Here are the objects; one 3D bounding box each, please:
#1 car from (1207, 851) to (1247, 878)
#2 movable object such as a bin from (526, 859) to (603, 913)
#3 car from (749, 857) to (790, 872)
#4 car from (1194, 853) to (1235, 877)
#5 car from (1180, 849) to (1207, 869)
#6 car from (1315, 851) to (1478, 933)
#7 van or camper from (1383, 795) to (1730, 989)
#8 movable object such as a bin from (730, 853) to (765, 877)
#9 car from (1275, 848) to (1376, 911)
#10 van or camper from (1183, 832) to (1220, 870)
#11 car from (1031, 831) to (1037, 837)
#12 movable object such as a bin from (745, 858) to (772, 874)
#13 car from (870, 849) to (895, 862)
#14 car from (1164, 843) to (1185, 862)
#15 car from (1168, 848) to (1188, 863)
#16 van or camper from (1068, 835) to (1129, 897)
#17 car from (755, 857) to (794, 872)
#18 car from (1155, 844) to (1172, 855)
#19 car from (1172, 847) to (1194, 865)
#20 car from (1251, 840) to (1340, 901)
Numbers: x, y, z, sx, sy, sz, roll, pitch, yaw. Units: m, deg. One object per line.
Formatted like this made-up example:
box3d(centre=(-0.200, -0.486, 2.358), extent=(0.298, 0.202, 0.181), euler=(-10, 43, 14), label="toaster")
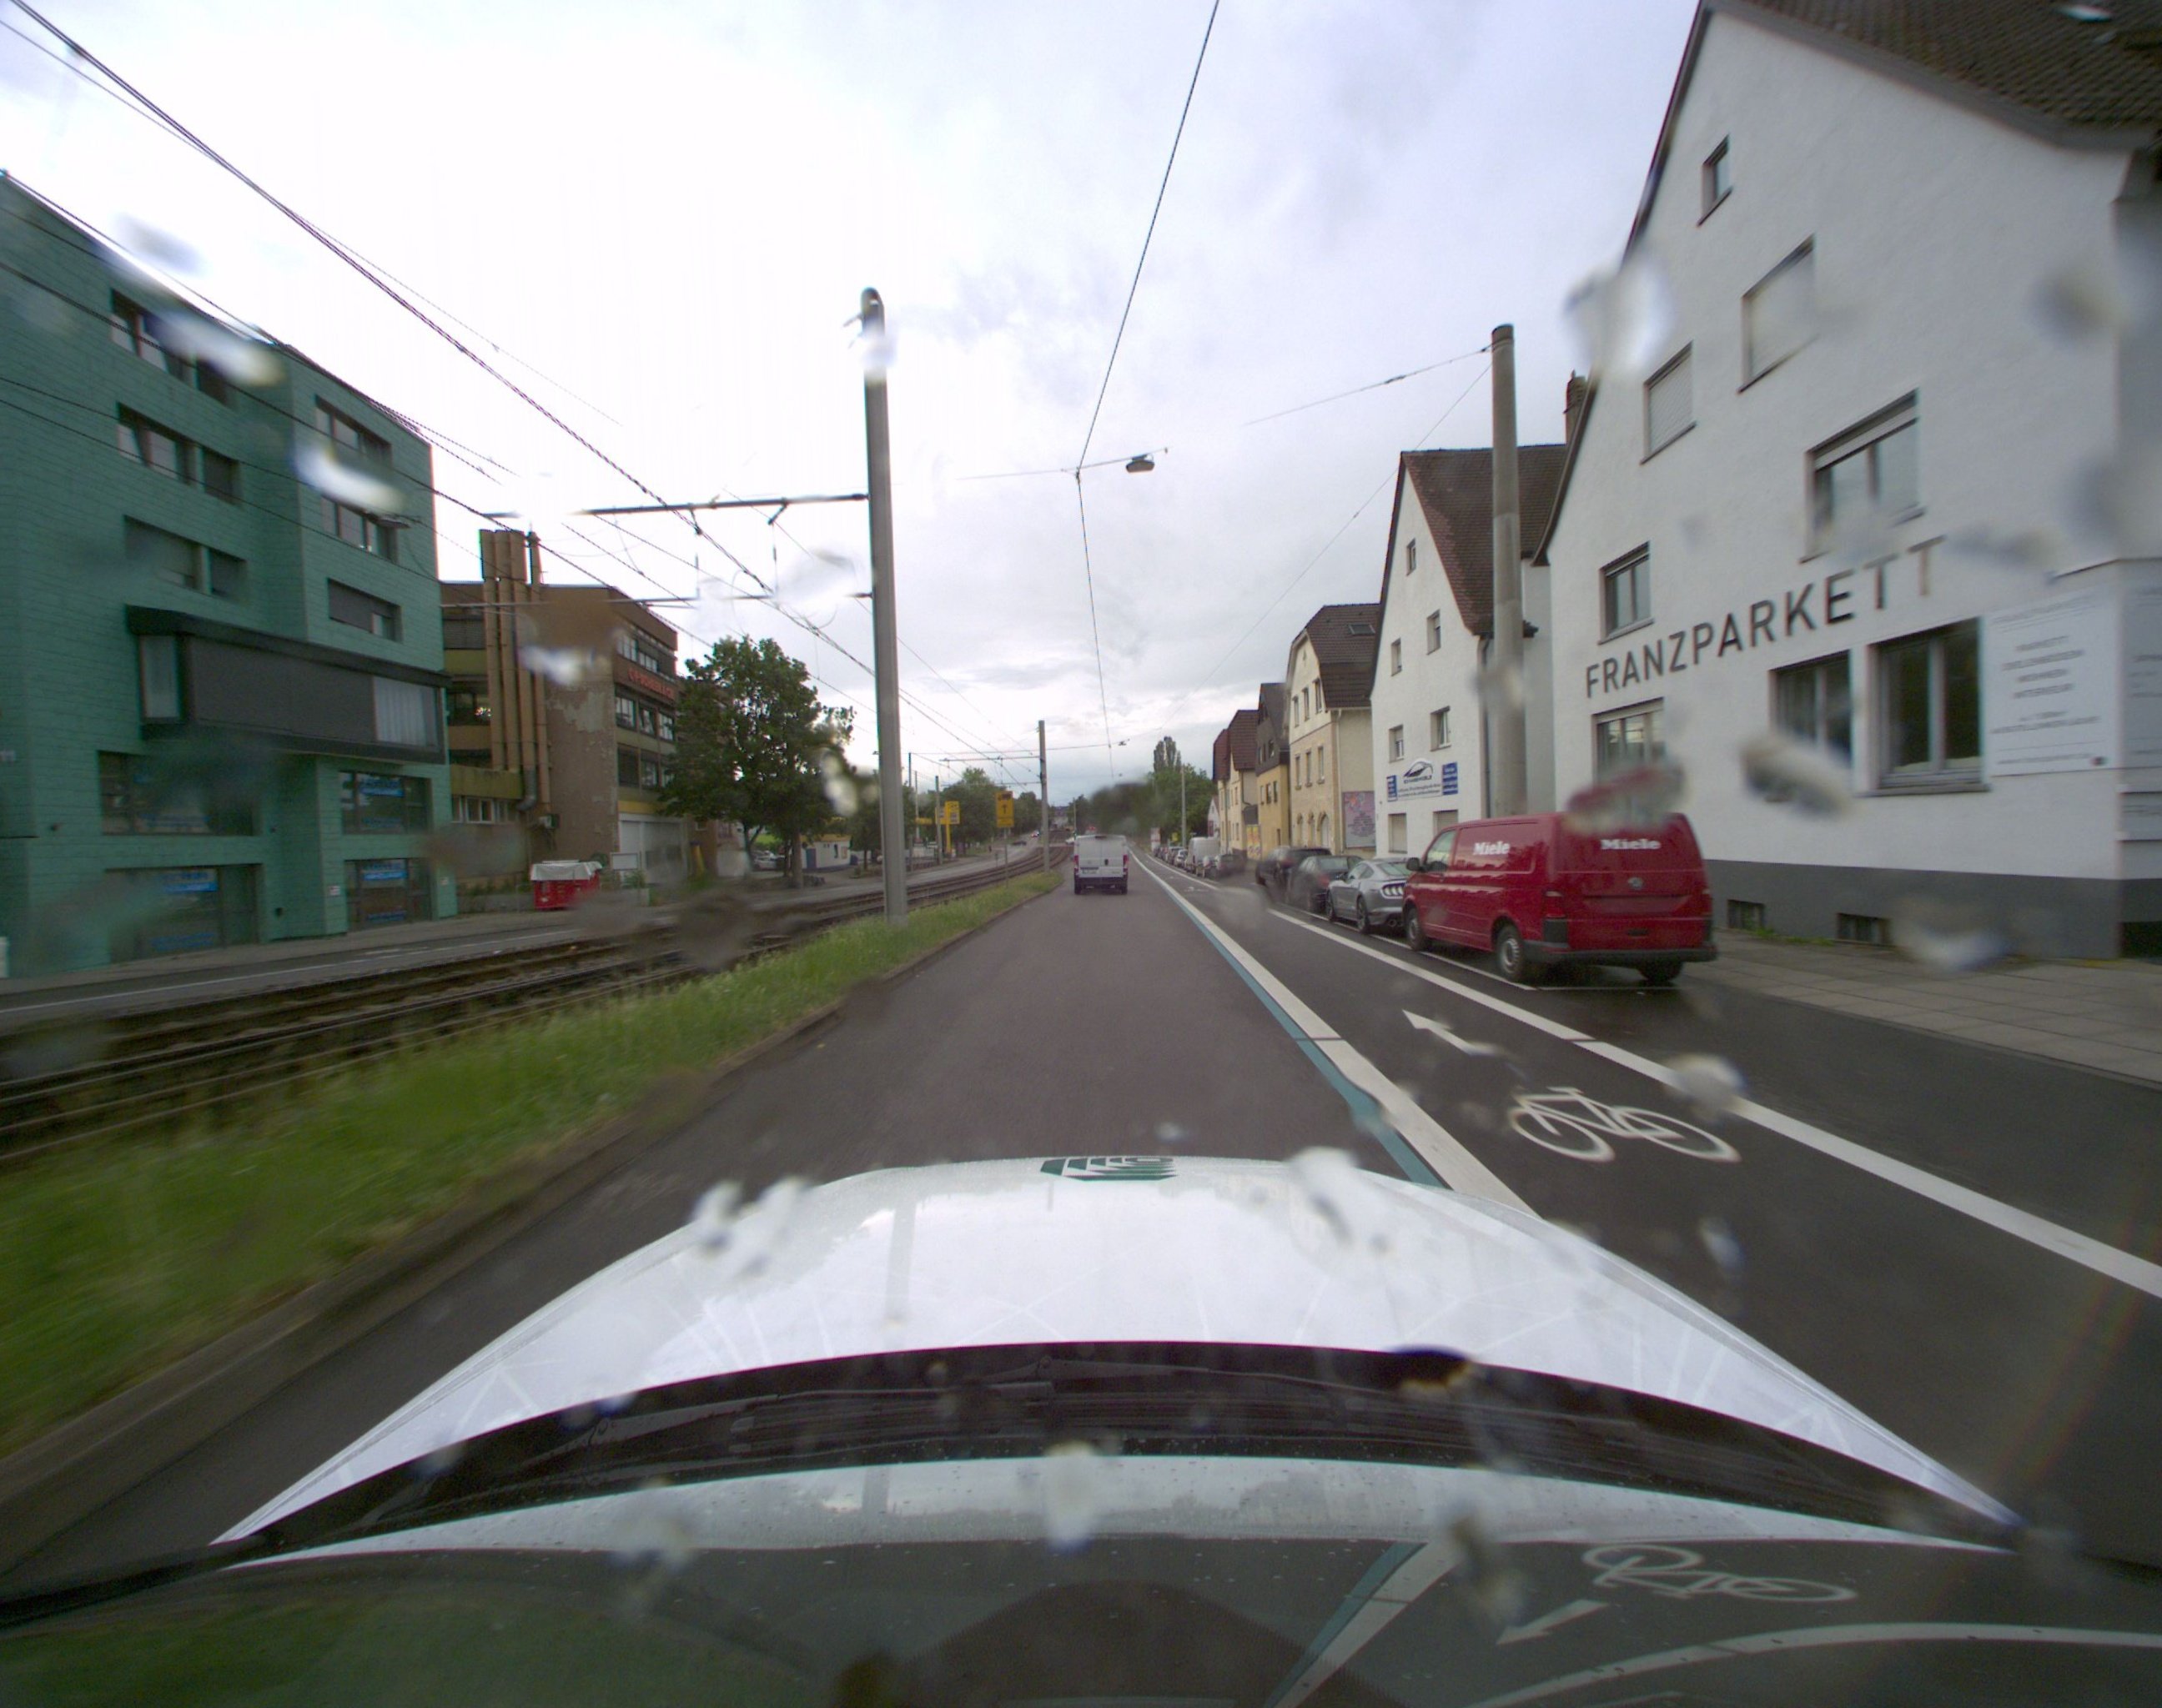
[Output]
box3d(centre=(8.154, 0.565, 45.817), extent=(1.561, 1.498, 3.511), euler=(0, 0, -1), label="car")
box3d(centre=(-21.761, 1.303, 34.411), extent=(2.131, 2.156, 1.798), euler=(0, 1, -7), label="movable object such as a bin")
box3d(centre=(-30.881, 1.038, 80.791), extent=(3.781, 1.453, 1.540), euler=(0, 0, -24), label="car")
box3d(centre=(8.424, 0.636, 51.633), extent=(1.783, 1.406, 4.550), euler=(0, 1, -1), label="car")
box3d(centre=(8.889, 0.391, 64.662), extent=(1.702, 1.446, 4.043), euler=(0, 1, 2), label="car")
box3d(centre=(6.097, 0.650, 16.374), extent=(1.788, 1.376, 4.676), euler=(-1, 0, 5), label="car")
box3d(centre=(5.799, 0.386, 10.856), extent=(1.843, 1.920, 4.998), euler=(-2, 0, 3), label="van or camper")
box3d(centre=(-28.404, 0.905, 69.475), extent=(1.993, 1.919, 3.561), euler=(0, 2, -9), label="movable object such as a bin")
box3d(centre=(6.512, 0.626, 22.102), extent=(1.627, 1.538, 4.137), euler=(0, 0, 2), label="car")
box3d(centre=(8.673, -0.266, 58.876), extent=(1.986, 2.563, 6.046), euler=(0, 1, 2), label="van or camper")
box3d(centre=(-14.032, -6.139, 244.483), extent=(1.684, 1.711, 3.776), euler=(0, 0, 0), label="car")
box3d(centre=(-29.311, 1.110, 73.997), extent=(1.993, 1.375, 1.565), euler=(0, 1, -10), label="movable object such as a bin")
box3d(centre=(-23.354, 0.180, 96.060), extent=(1.987, 1.442, 3.999), euler=(0, 0, 0), label="car")
box3d(centre=(9.828, -0.177, 85.724), extent=(1.741, 1.807, 3.955), euler=(0, 1, 1), label="car")
box3d(centre=(9.508, 0.135, 80.177), extent=(1.640, 1.445, 3.956), euler=(0, 1, 2), label="car")
box3d(centre=(0.588, 0.431, 32.058), extent=(2.193, 2.252, 4.681), euler=(0, 0, -1), label="van or camper")
box3d(centre=(-32.377, 1.084, 85.954), extent=(3.781, 1.479, 1.563), euler=(0, 0, -24), label="car")
box3d(centre=(11.045, -0.624, 109.207), extent=(1.841, 1.499, 3.955), euler=(0, 0, 1), label="car")
box3d(centre=(9.319, 0.170, 74.621), extent=(1.640, 1.615, 4.106), euler=(0, 1, 2), label="car")
box3d(centre=(6.940, 0.491, 26.851), extent=(1.832, 1.800, 4.689), euler=(0, 0, 2), label="car")
